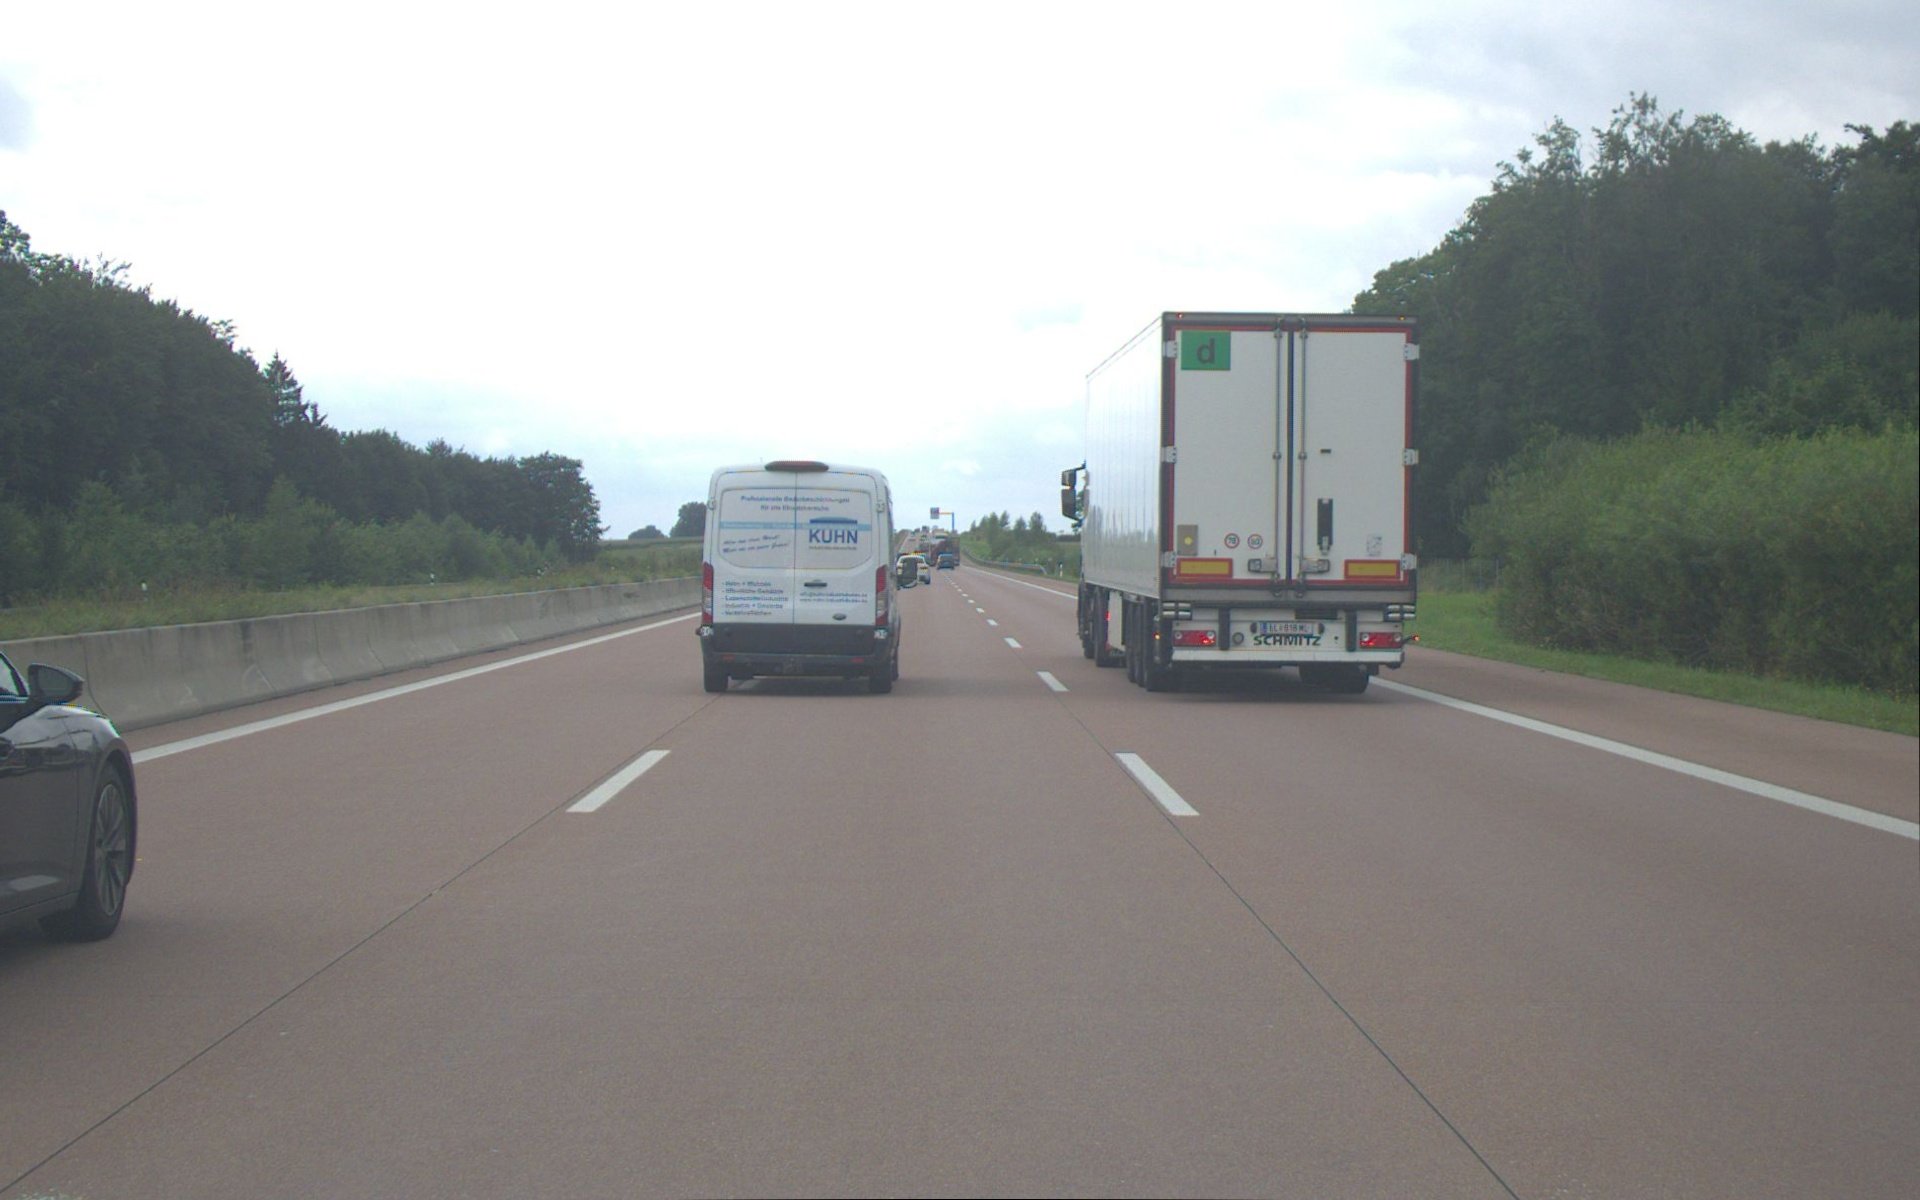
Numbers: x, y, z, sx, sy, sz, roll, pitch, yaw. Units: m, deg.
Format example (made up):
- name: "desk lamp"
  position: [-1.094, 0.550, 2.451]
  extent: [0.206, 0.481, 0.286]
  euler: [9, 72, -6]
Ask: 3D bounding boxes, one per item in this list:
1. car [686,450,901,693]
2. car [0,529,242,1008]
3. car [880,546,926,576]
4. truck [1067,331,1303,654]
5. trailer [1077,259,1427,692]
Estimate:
- name: "car"
  position: [-1.773, -0.379, 38.952]
  extent: [2.137, 2.498, 7.132]
  euler: [0, 1, 0]
- name: "car"
  position: [-4.158, 0.533, 11.676]
  extent: [2.085, 1.545, 5.674]
  euler: [1, 1, 2]
- name: "car"
  position: [-2.920, -2.006, 177.702]
  extent: [2.163, 1.446, 4.719]
  euler: [1, 1, 1]
- name: "truck"
  position: [3.076, -1.469, 48.422]
  extent: [2.921, 4.279, 5.335]
  euler: [0, 1, 0]
- name: "trailer"
  position: [3.124, -1.328, 40.899]
  extent: [2.921, 4.279, 13.614]
  euler: [0, 1, 0]
